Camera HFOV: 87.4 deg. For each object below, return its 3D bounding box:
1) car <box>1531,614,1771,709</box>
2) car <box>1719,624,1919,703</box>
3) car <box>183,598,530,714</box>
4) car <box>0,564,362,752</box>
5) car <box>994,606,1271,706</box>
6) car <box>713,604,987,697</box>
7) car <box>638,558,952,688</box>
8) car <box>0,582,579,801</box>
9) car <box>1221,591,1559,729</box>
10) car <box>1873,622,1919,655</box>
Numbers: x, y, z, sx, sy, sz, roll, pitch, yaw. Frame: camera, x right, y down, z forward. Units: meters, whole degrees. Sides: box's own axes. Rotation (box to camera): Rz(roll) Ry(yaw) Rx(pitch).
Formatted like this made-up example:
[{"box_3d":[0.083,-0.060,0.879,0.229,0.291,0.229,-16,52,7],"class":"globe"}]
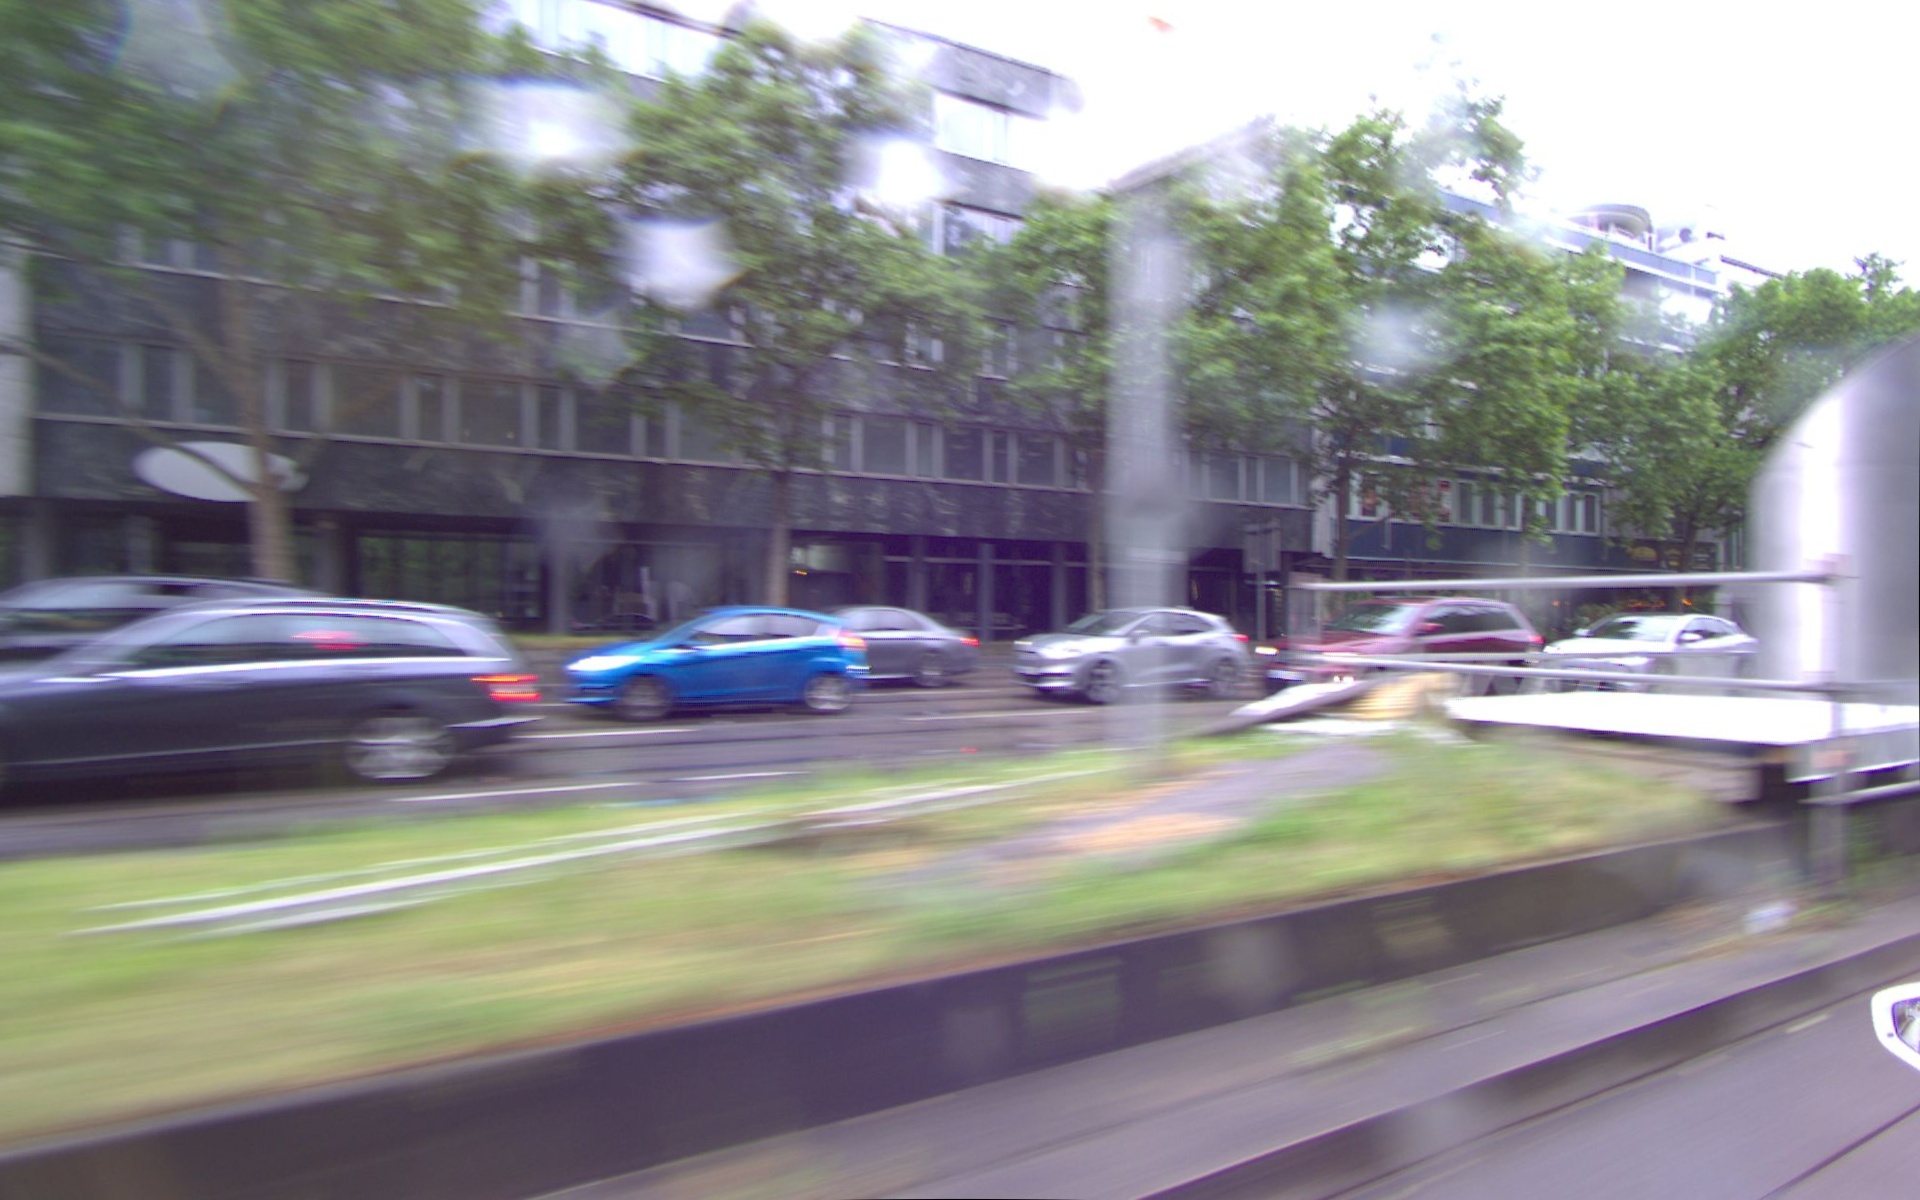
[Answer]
[{"box_3d":[13.134,1.109,19.032,4.770,1.594,1.728,1,0,-28],"class":"car"},{"box_3d":[19.174,1.351,22.267,4.480,1.573,1.908,1,0,-25],"class":"car"},{"box_3d":[-8.360,0.733,14.208,3.934,1.405,1.983,2,0,-32],"class":"car"},{"box_3d":[-8.601,0.529,10.060,4.357,1.687,1.836,1,0,-28],"class":"car"},{"box_3d":[2.954,0.892,16.989,4.511,1.511,1.713,1,0,-28],"class":"car"},{"box_3d":[-1.919,0.829,17.989,4.534,1.466,1.881,1,0,-31],"class":"car"},{"box_3d":[-2.268,0.330,14.048,3.955,1.586,1.744,2,0,-31],"class":"car"},{"box_3d":[-5.817,0.640,8.175,4.858,1.470,1.835,1,0,-30],"class":"car"},{"box_3d":[6.485,0.829,15.027,5.042,1.790,1.829,1,0,-26],"class":"car"},{"box_3d":[43.136,1.724,45.226,4.624,1.371,1.553,1,1,-28],"class":"car"}]
